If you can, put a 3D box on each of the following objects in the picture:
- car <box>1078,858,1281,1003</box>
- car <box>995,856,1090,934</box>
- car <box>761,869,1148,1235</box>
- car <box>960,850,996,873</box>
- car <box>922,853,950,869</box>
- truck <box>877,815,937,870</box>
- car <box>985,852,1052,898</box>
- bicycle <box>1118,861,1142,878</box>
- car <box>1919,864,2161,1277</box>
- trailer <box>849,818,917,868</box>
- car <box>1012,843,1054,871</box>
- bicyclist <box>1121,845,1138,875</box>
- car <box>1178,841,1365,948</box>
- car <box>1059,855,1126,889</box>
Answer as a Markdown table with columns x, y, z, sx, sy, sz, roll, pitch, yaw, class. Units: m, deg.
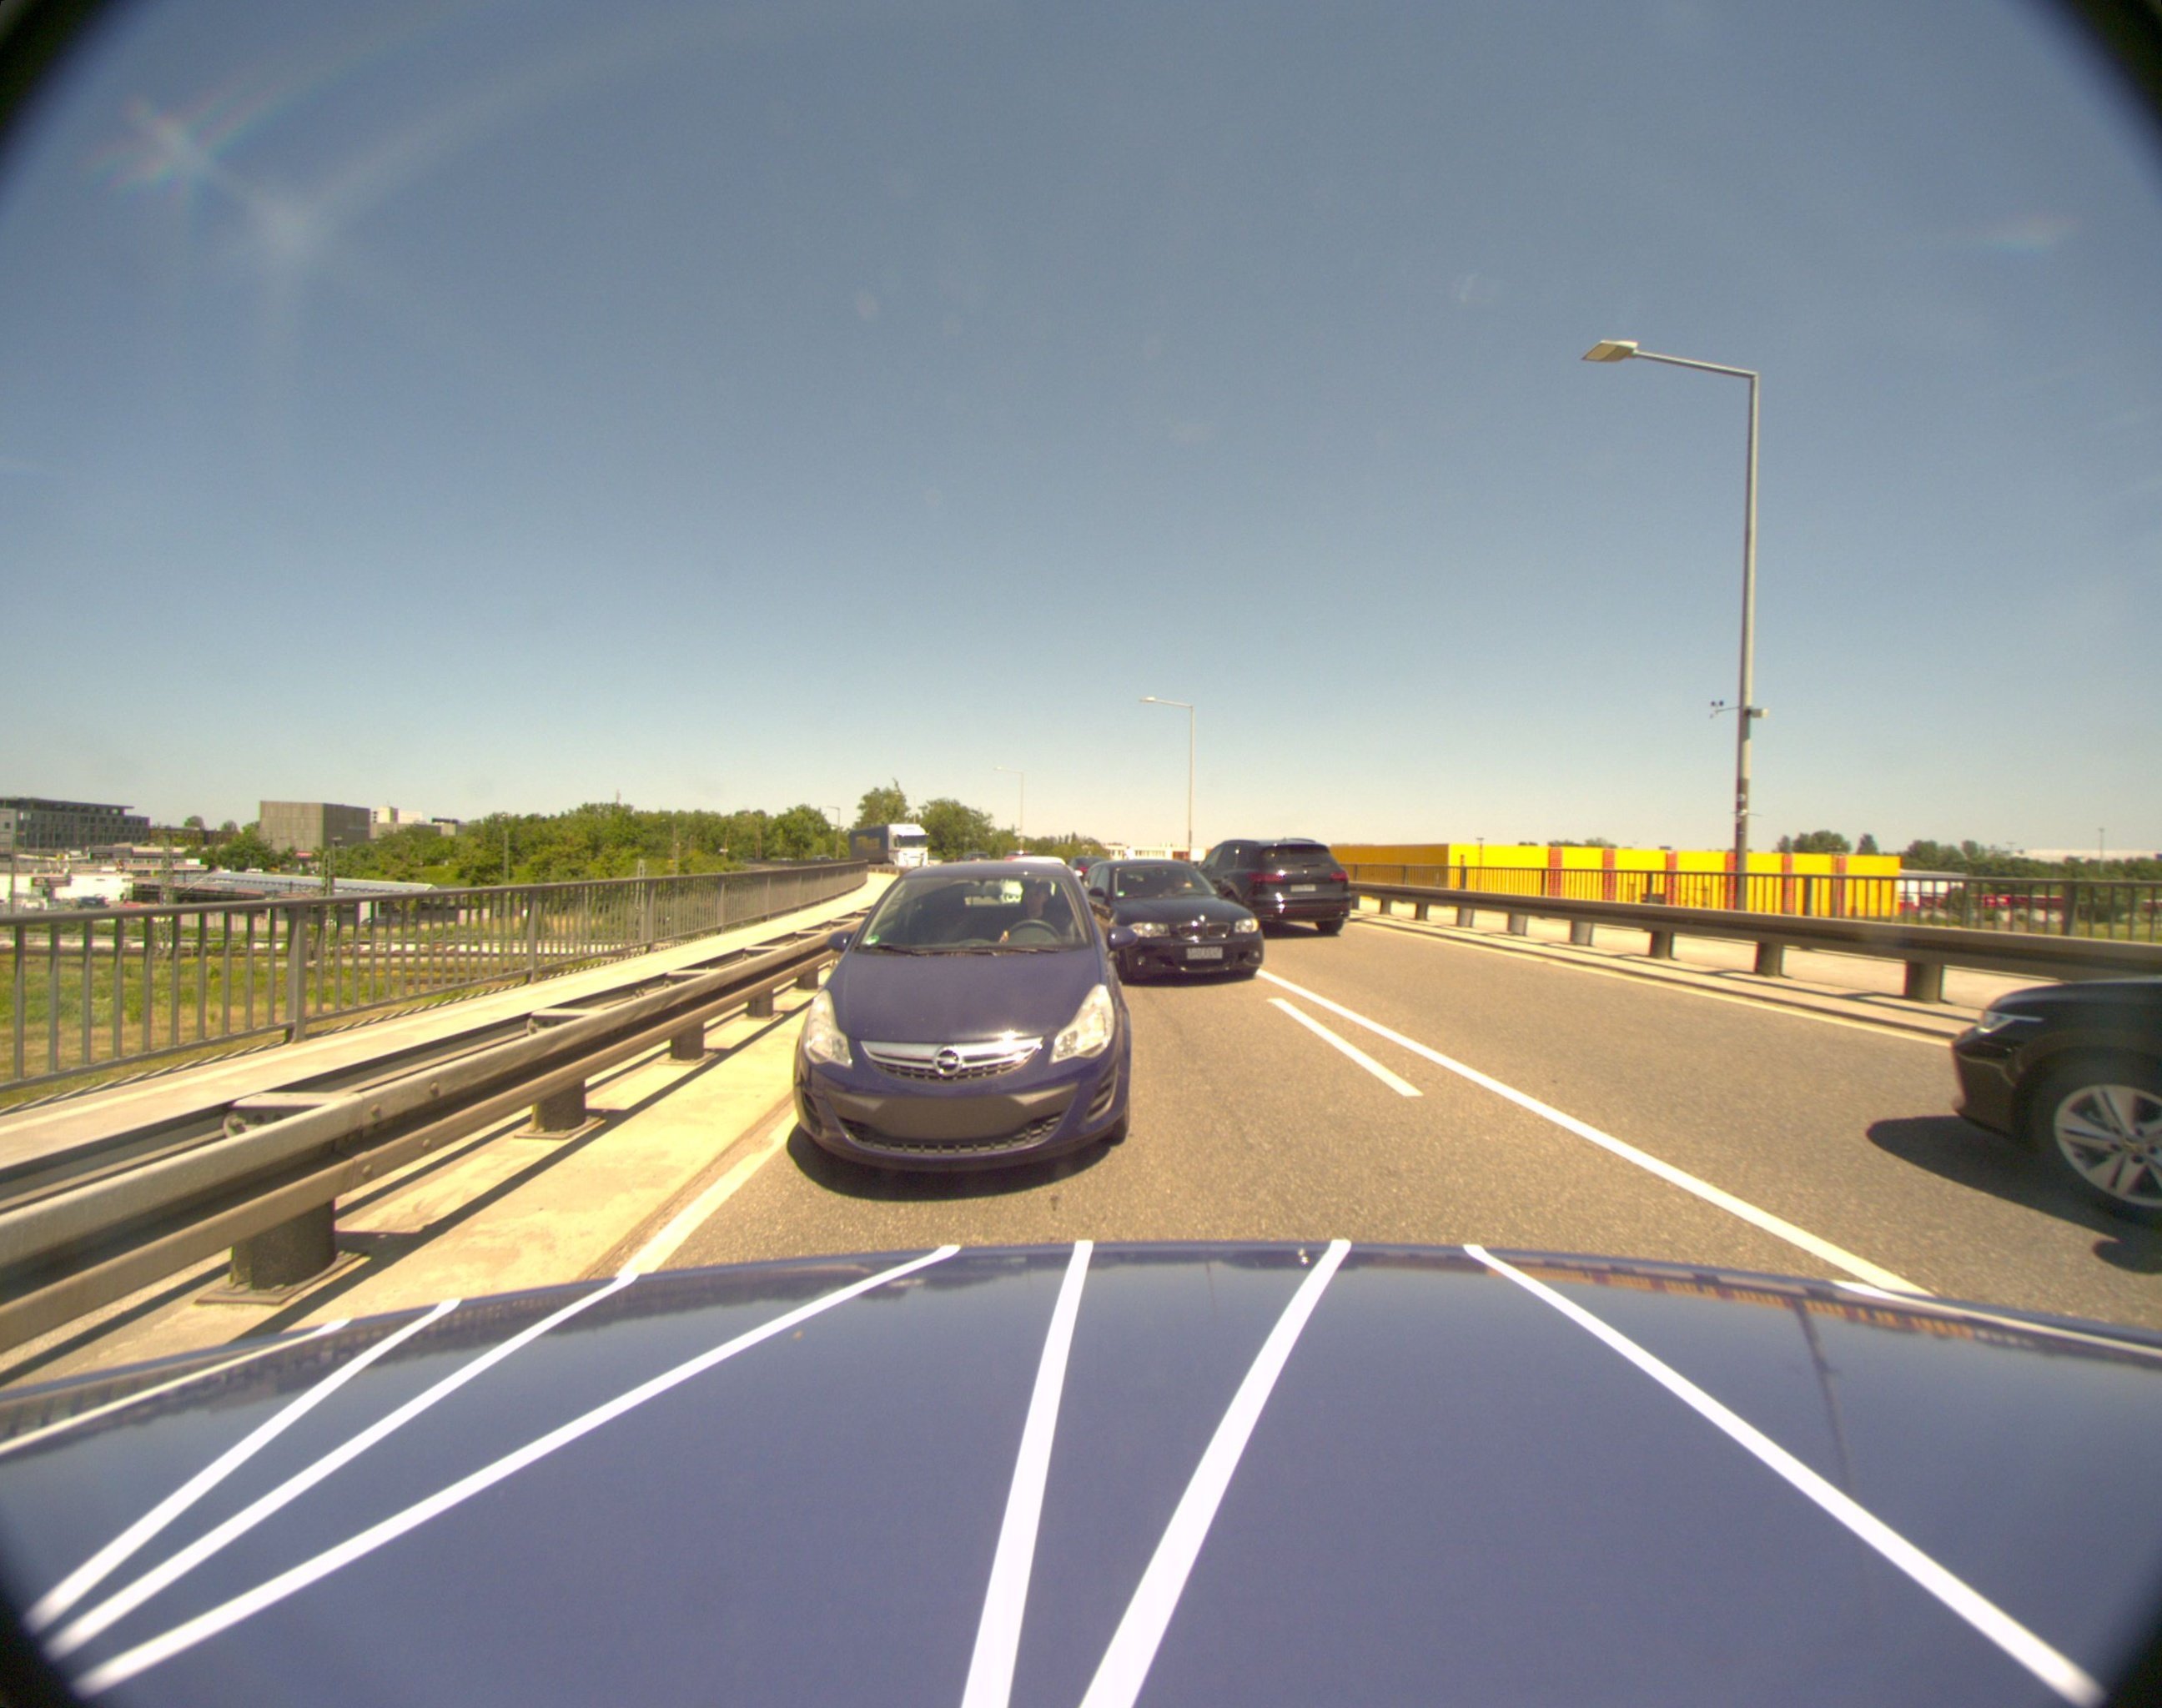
| x | y | z | sx | sy | sz | roll | pitch | yaw | class |
| --- | --- | --- | --- | --- | --- | --- | --- | --- | --- |
| 1.068 | 0.834 | 10.462 | 1.795 | 1.447 | 4.520 | -1 | 1 | -5 | car |
| -1.022 | 0.821 | 17.461 | 1.795 | 1.447 | 4.519 | -2 | 1 | -7 | car |
| -0.661 | 0.902 | 5.337 | 1.645 | 1.431 | 3.998 | -2 | 1 | -4 | car |
| -7.800 | 0.566 | 57.388 | 1.808 | 1.631 | 4.293 | -1 | 1 | -20 | car |
| -13.198 | 0.659 | 69.164 | 1.704 | 1.368 | 3.992 | -1 | 1 | -22 | car |
| -14.496 | -0.953 | 62.870 | 2.700 | 4.205 | 6.822 | -3 | 2 | -30 | truck |
| -2.306 | 0.668 | 26.940 | 1.796 | 1.446 | 4.518 | -1 | 0 | -11 | car |
| 2.532 | 0.776 | 39.290 | 0.590 | 0.828 | 1.988 | -1 | 1 | -16 | bicycle |
| 4.822 | 0.795 | 1.321 | 1.715 | 1.460 | 4.458 | -1 | 0 | -2 | car |
| -18.364 | -0.982 | 69.662 | 2.706 | 4.211 | 12.682 | -3 | 2 | -29 | trailer |
| -3.043 | 0.174 | 47.453 | 1.713 | 1.617 | 4.246 | -2 | 1 | -16 | car |
| 2.526 | 0.303 | 39.293 | 0.585 | 1.512 | 0.895 | -1 | 1 | -16 | bicyclist |
| 3.373 | 0.638 | 14.519 | 1.972 | 1.663 | 4.610 | -1 | 1 | -6 | car |
| 0.400 | 0.708 | 31.805 | 1.685 | 1.300 | 3.967 | -1 | 0 | -16 | car |
